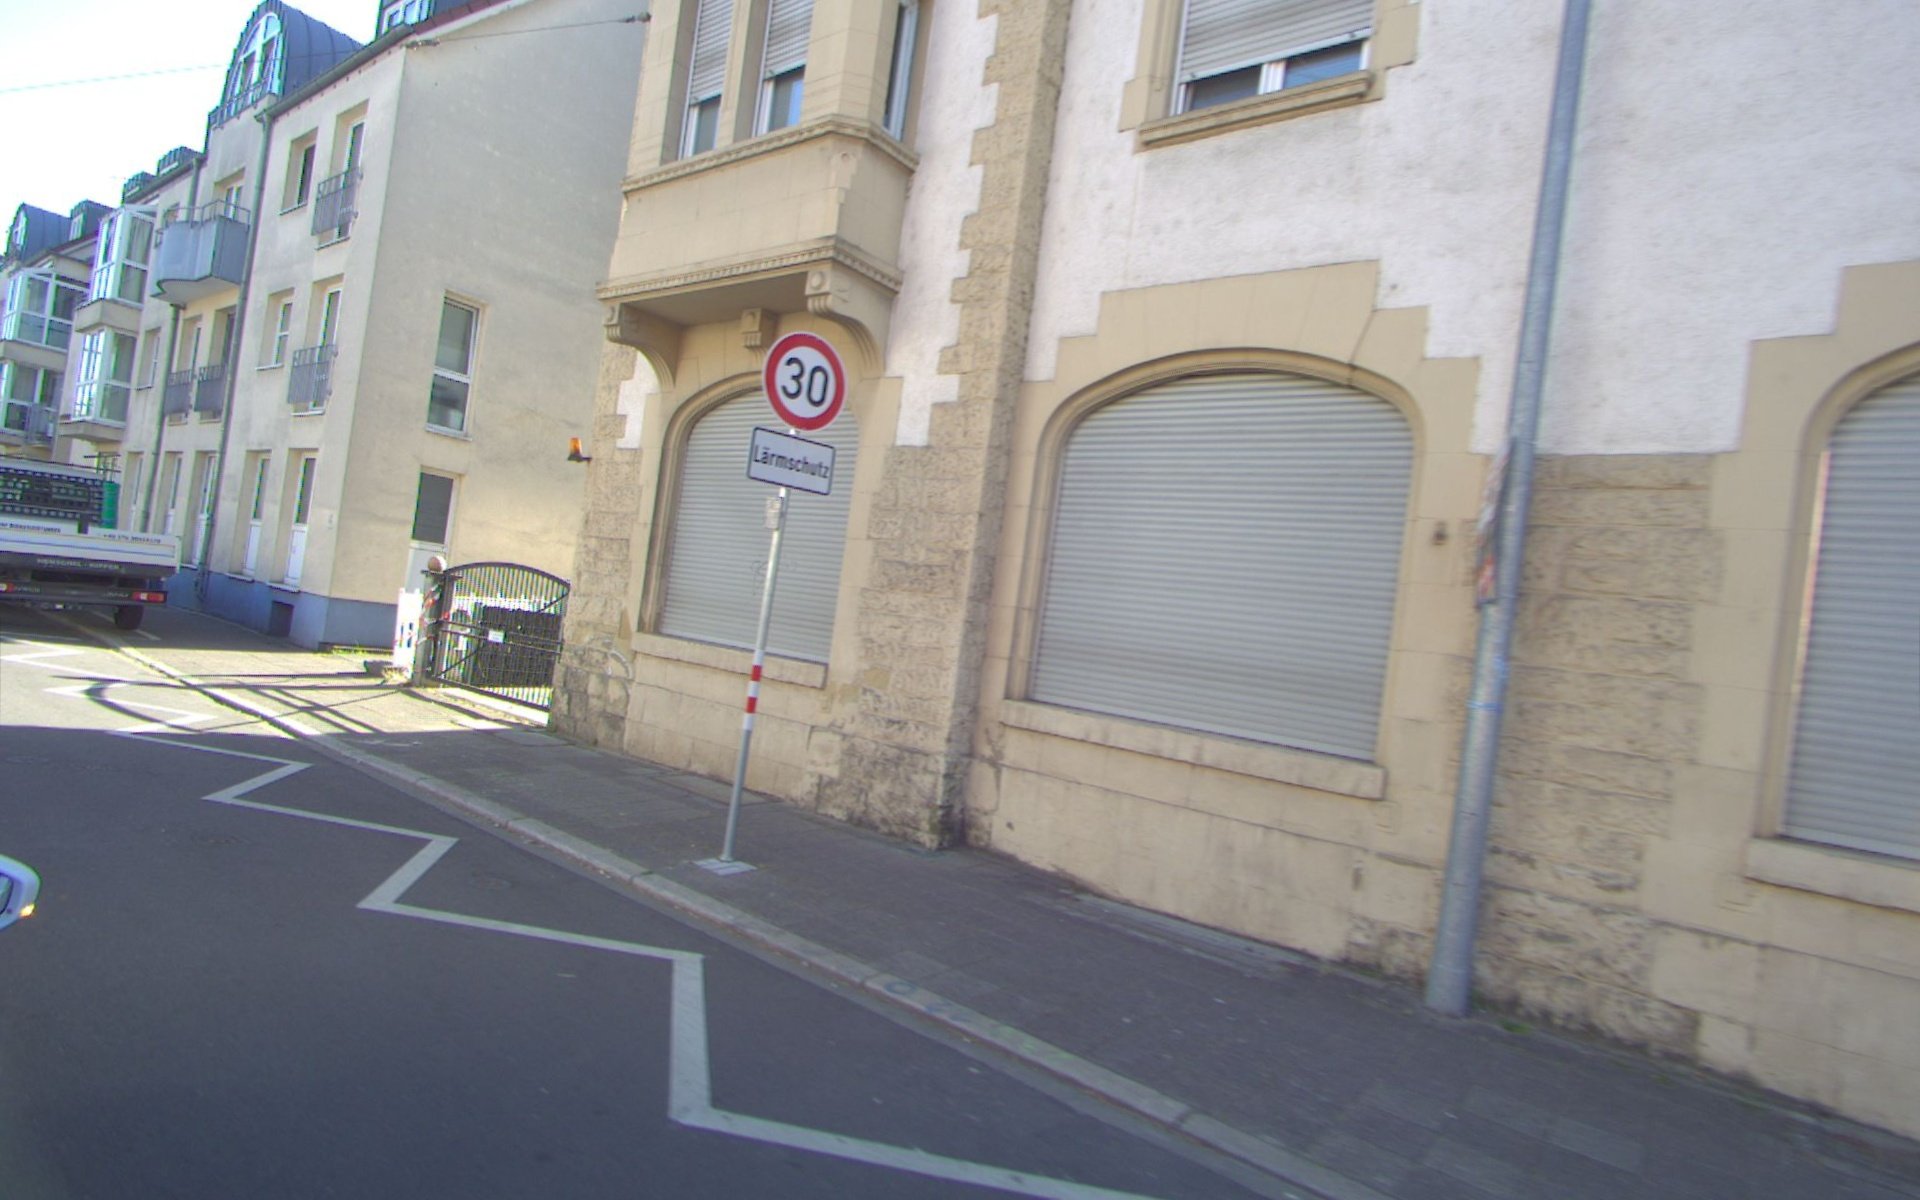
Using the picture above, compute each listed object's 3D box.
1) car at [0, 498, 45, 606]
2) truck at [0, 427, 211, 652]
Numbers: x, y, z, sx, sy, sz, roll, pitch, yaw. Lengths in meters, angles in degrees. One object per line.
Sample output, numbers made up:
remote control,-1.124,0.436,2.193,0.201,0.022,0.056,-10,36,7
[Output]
car,-18.109,-1.077,17.999,4.193,1.765,1.741,6,-4,39
truck,-13.216,-0.946,14.440,6.056,2.506,2.296,7,-2,39
